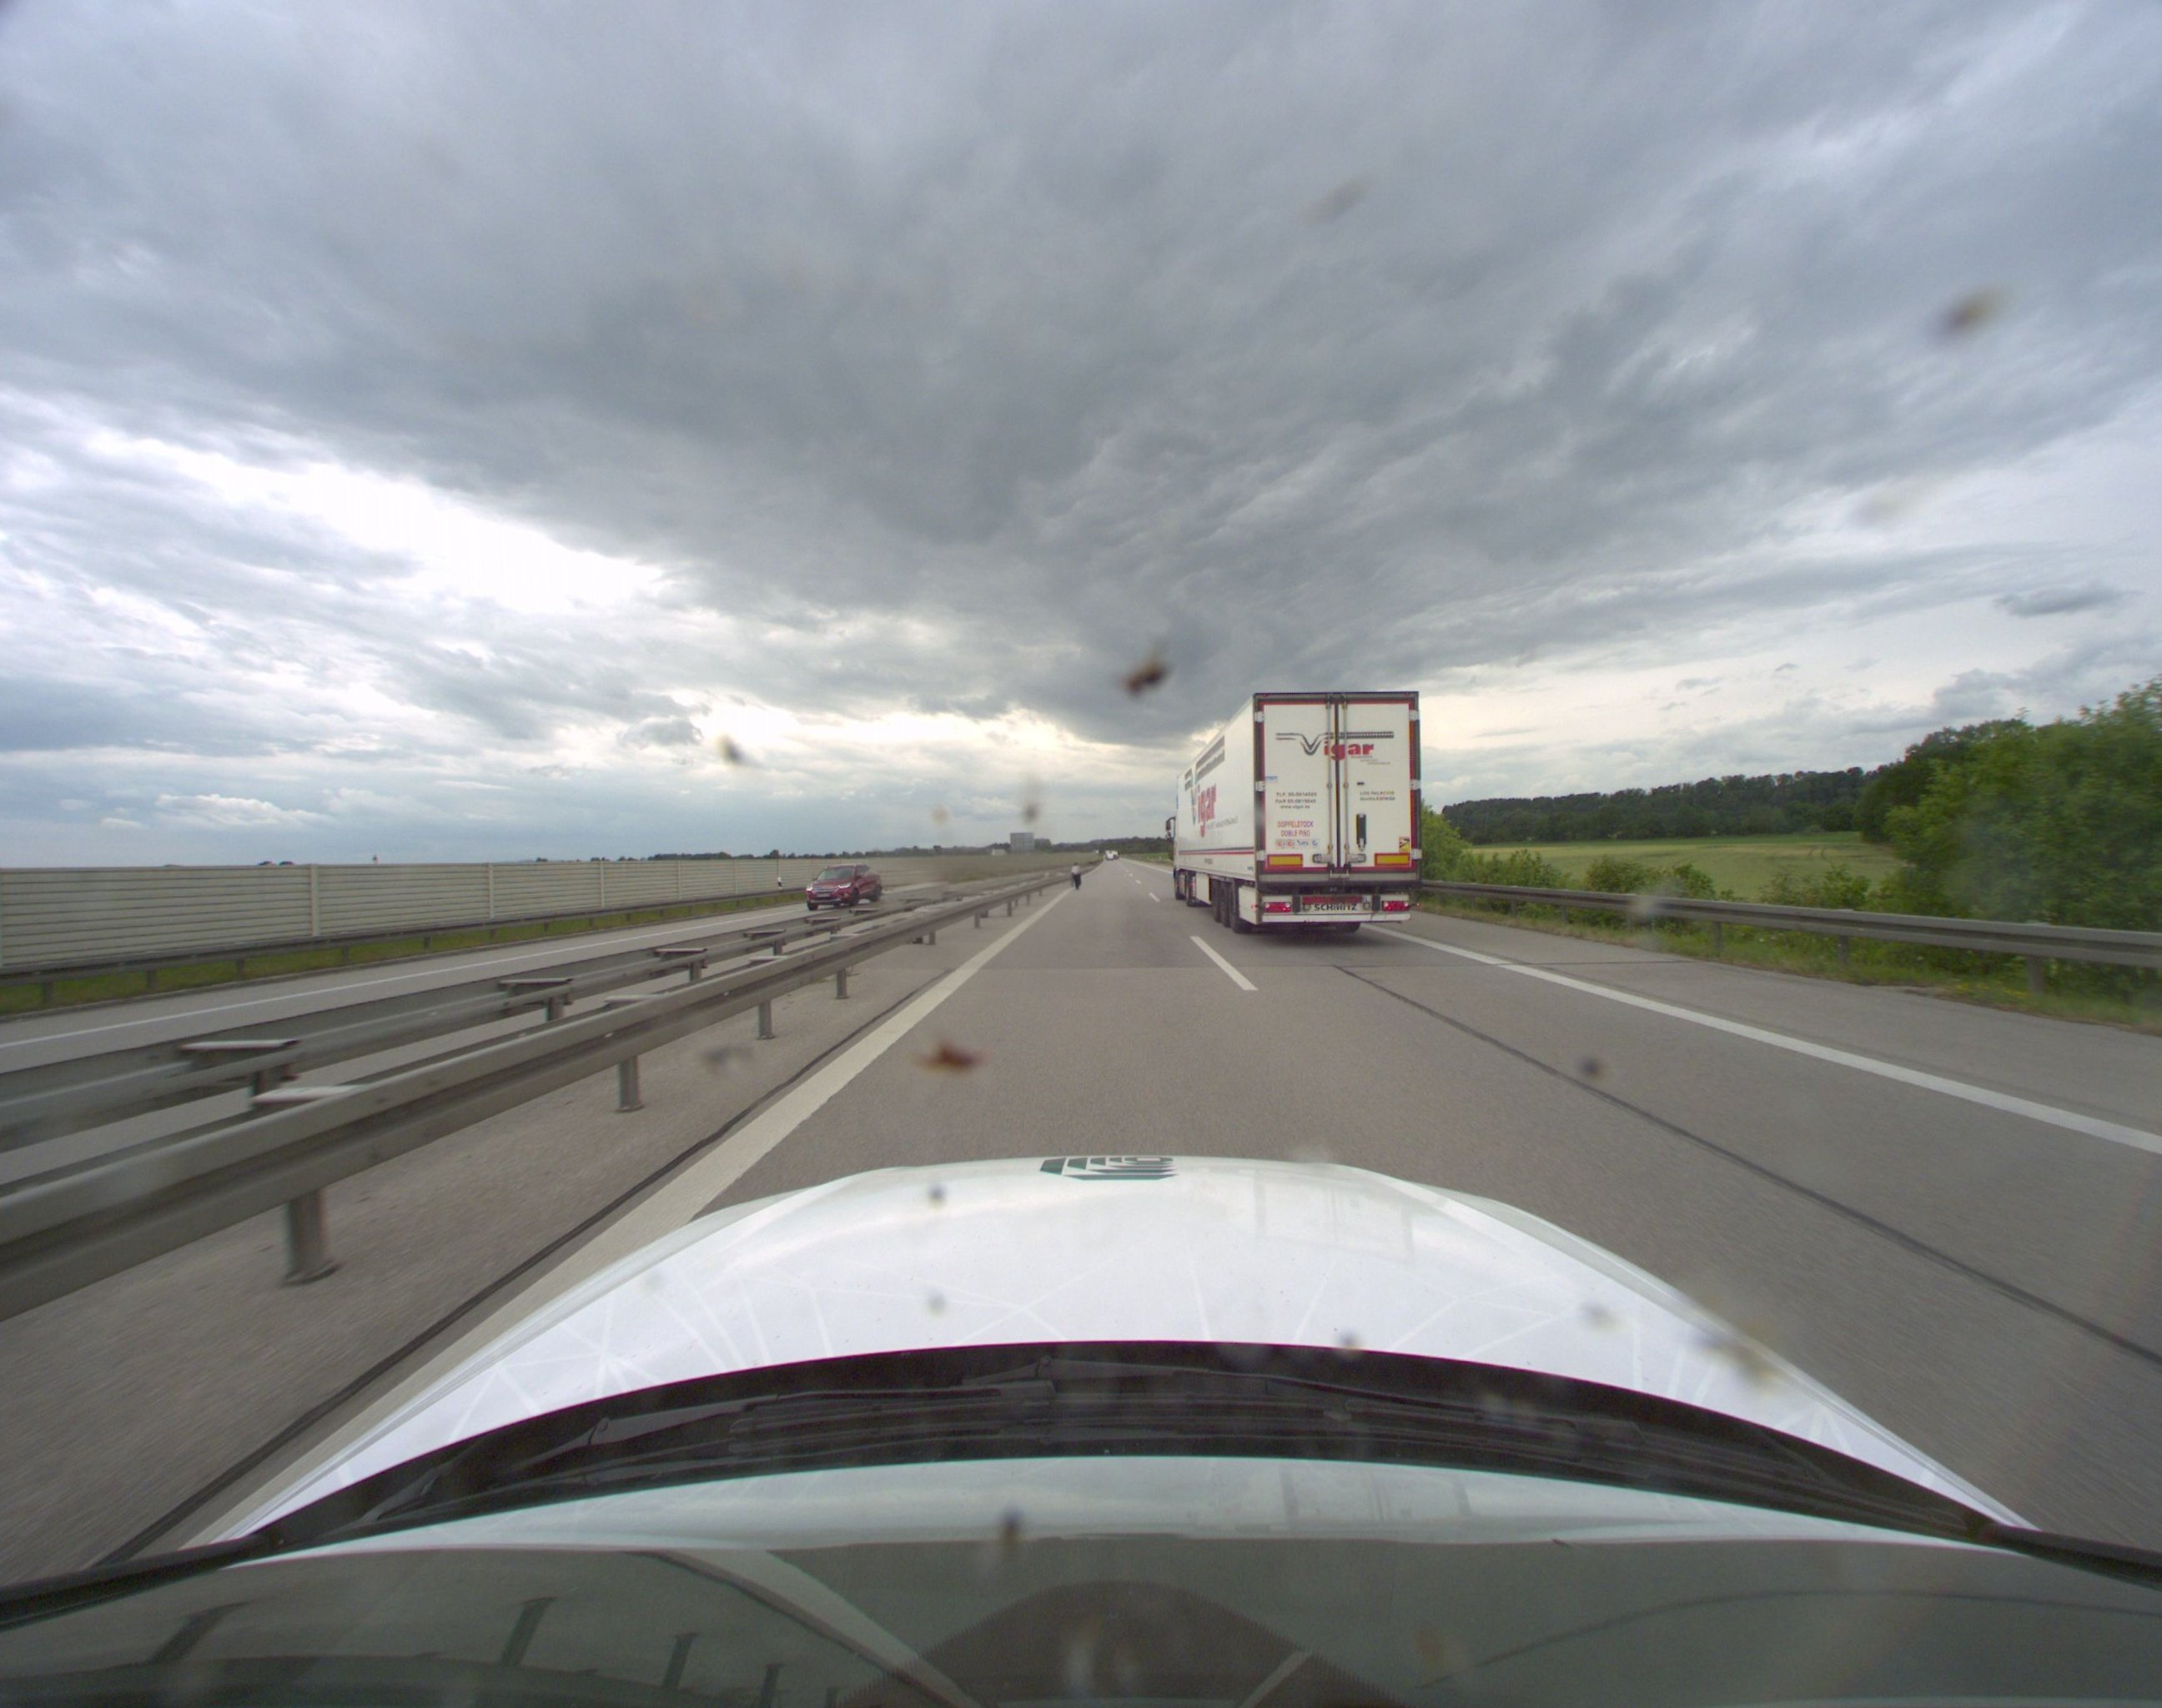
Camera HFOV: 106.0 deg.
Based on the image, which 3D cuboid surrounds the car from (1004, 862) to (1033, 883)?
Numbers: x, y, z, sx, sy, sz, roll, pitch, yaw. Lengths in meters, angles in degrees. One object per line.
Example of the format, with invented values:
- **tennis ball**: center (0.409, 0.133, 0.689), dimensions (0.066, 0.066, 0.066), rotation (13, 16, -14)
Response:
- **car**: center (-5.423, 1.584, 71.120), dimensions (1.888, 1.631, 4.176), rotation (-5, 0, 2)

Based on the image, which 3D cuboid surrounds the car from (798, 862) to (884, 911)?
- **car**: center (-9.336, 1.209, 32.051), dimensions (1.888, 1.631, 4.176), rotation (-5, 0, 2)

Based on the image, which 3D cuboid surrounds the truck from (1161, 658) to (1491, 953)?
- **truck**: center (4.567, -0.788, 20.680), dimensions (3.659, 4.412, 16.344), rotation (-2, 0, 1)
